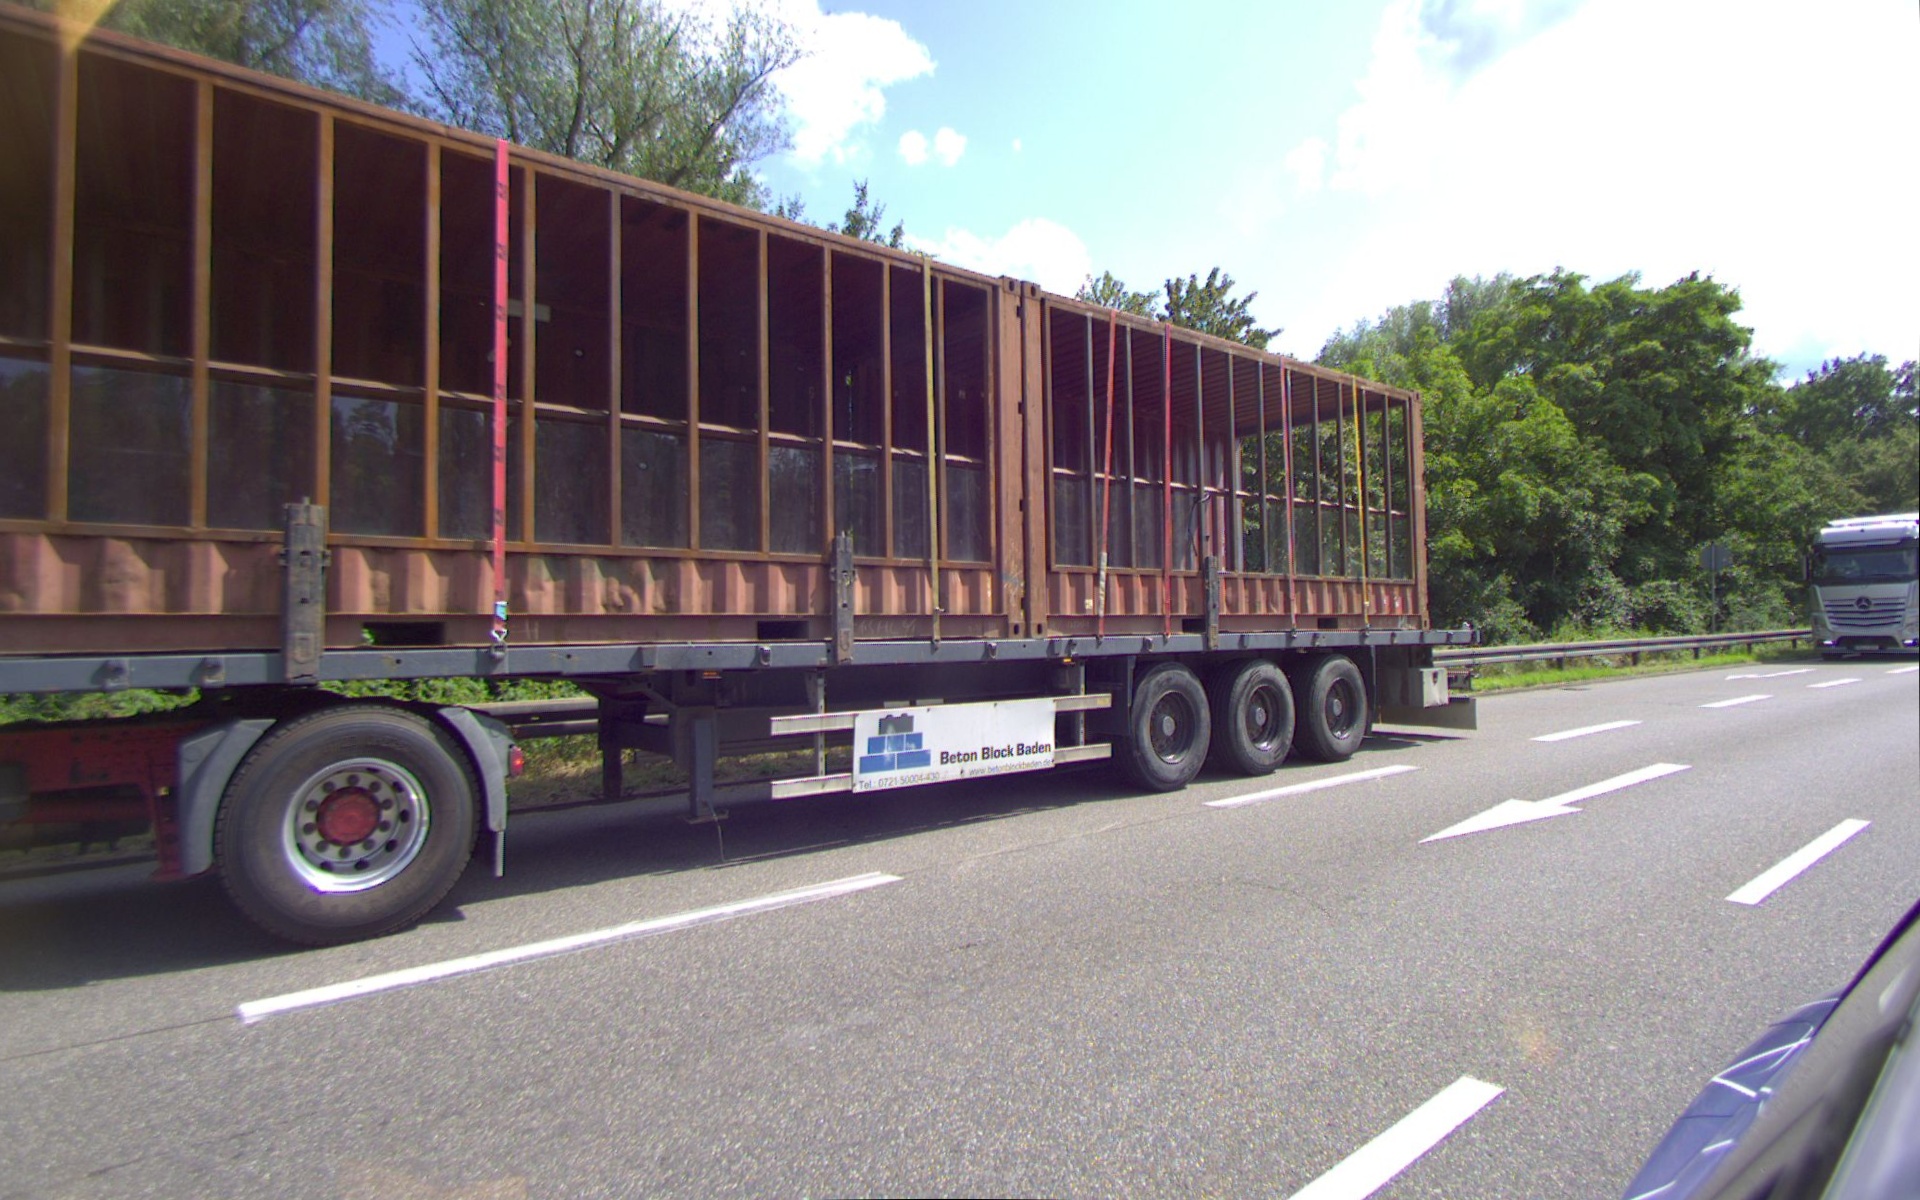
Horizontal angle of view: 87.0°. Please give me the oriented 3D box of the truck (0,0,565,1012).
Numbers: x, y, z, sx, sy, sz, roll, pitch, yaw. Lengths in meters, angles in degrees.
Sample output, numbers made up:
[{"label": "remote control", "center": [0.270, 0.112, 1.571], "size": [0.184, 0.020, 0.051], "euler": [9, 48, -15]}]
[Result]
[{"label": "truck", "center": [-5.112, -0.411, 4.315], "size": [5.772, 3.955, 2.873], "euler": [0, -3, -40]}]

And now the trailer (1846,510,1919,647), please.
[{"label": "trailer", "center": [32.042, -0.570, 32.458], "size": [12.089, 3.900, 2.779], "euler": [0, -2, -36]}]

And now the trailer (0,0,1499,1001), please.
[{"label": "trailer", "center": [0.007, -0.415, 8.474], "size": [13.596, 3.942, 2.644], "euler": [0, -3, -39]}]

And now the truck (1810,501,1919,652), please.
[{"label": "truck", "center": [27.042, -0.567, 28.757], "size": [6.691, 3.895, 2.777], "euler": [1, -2, -36]}]
